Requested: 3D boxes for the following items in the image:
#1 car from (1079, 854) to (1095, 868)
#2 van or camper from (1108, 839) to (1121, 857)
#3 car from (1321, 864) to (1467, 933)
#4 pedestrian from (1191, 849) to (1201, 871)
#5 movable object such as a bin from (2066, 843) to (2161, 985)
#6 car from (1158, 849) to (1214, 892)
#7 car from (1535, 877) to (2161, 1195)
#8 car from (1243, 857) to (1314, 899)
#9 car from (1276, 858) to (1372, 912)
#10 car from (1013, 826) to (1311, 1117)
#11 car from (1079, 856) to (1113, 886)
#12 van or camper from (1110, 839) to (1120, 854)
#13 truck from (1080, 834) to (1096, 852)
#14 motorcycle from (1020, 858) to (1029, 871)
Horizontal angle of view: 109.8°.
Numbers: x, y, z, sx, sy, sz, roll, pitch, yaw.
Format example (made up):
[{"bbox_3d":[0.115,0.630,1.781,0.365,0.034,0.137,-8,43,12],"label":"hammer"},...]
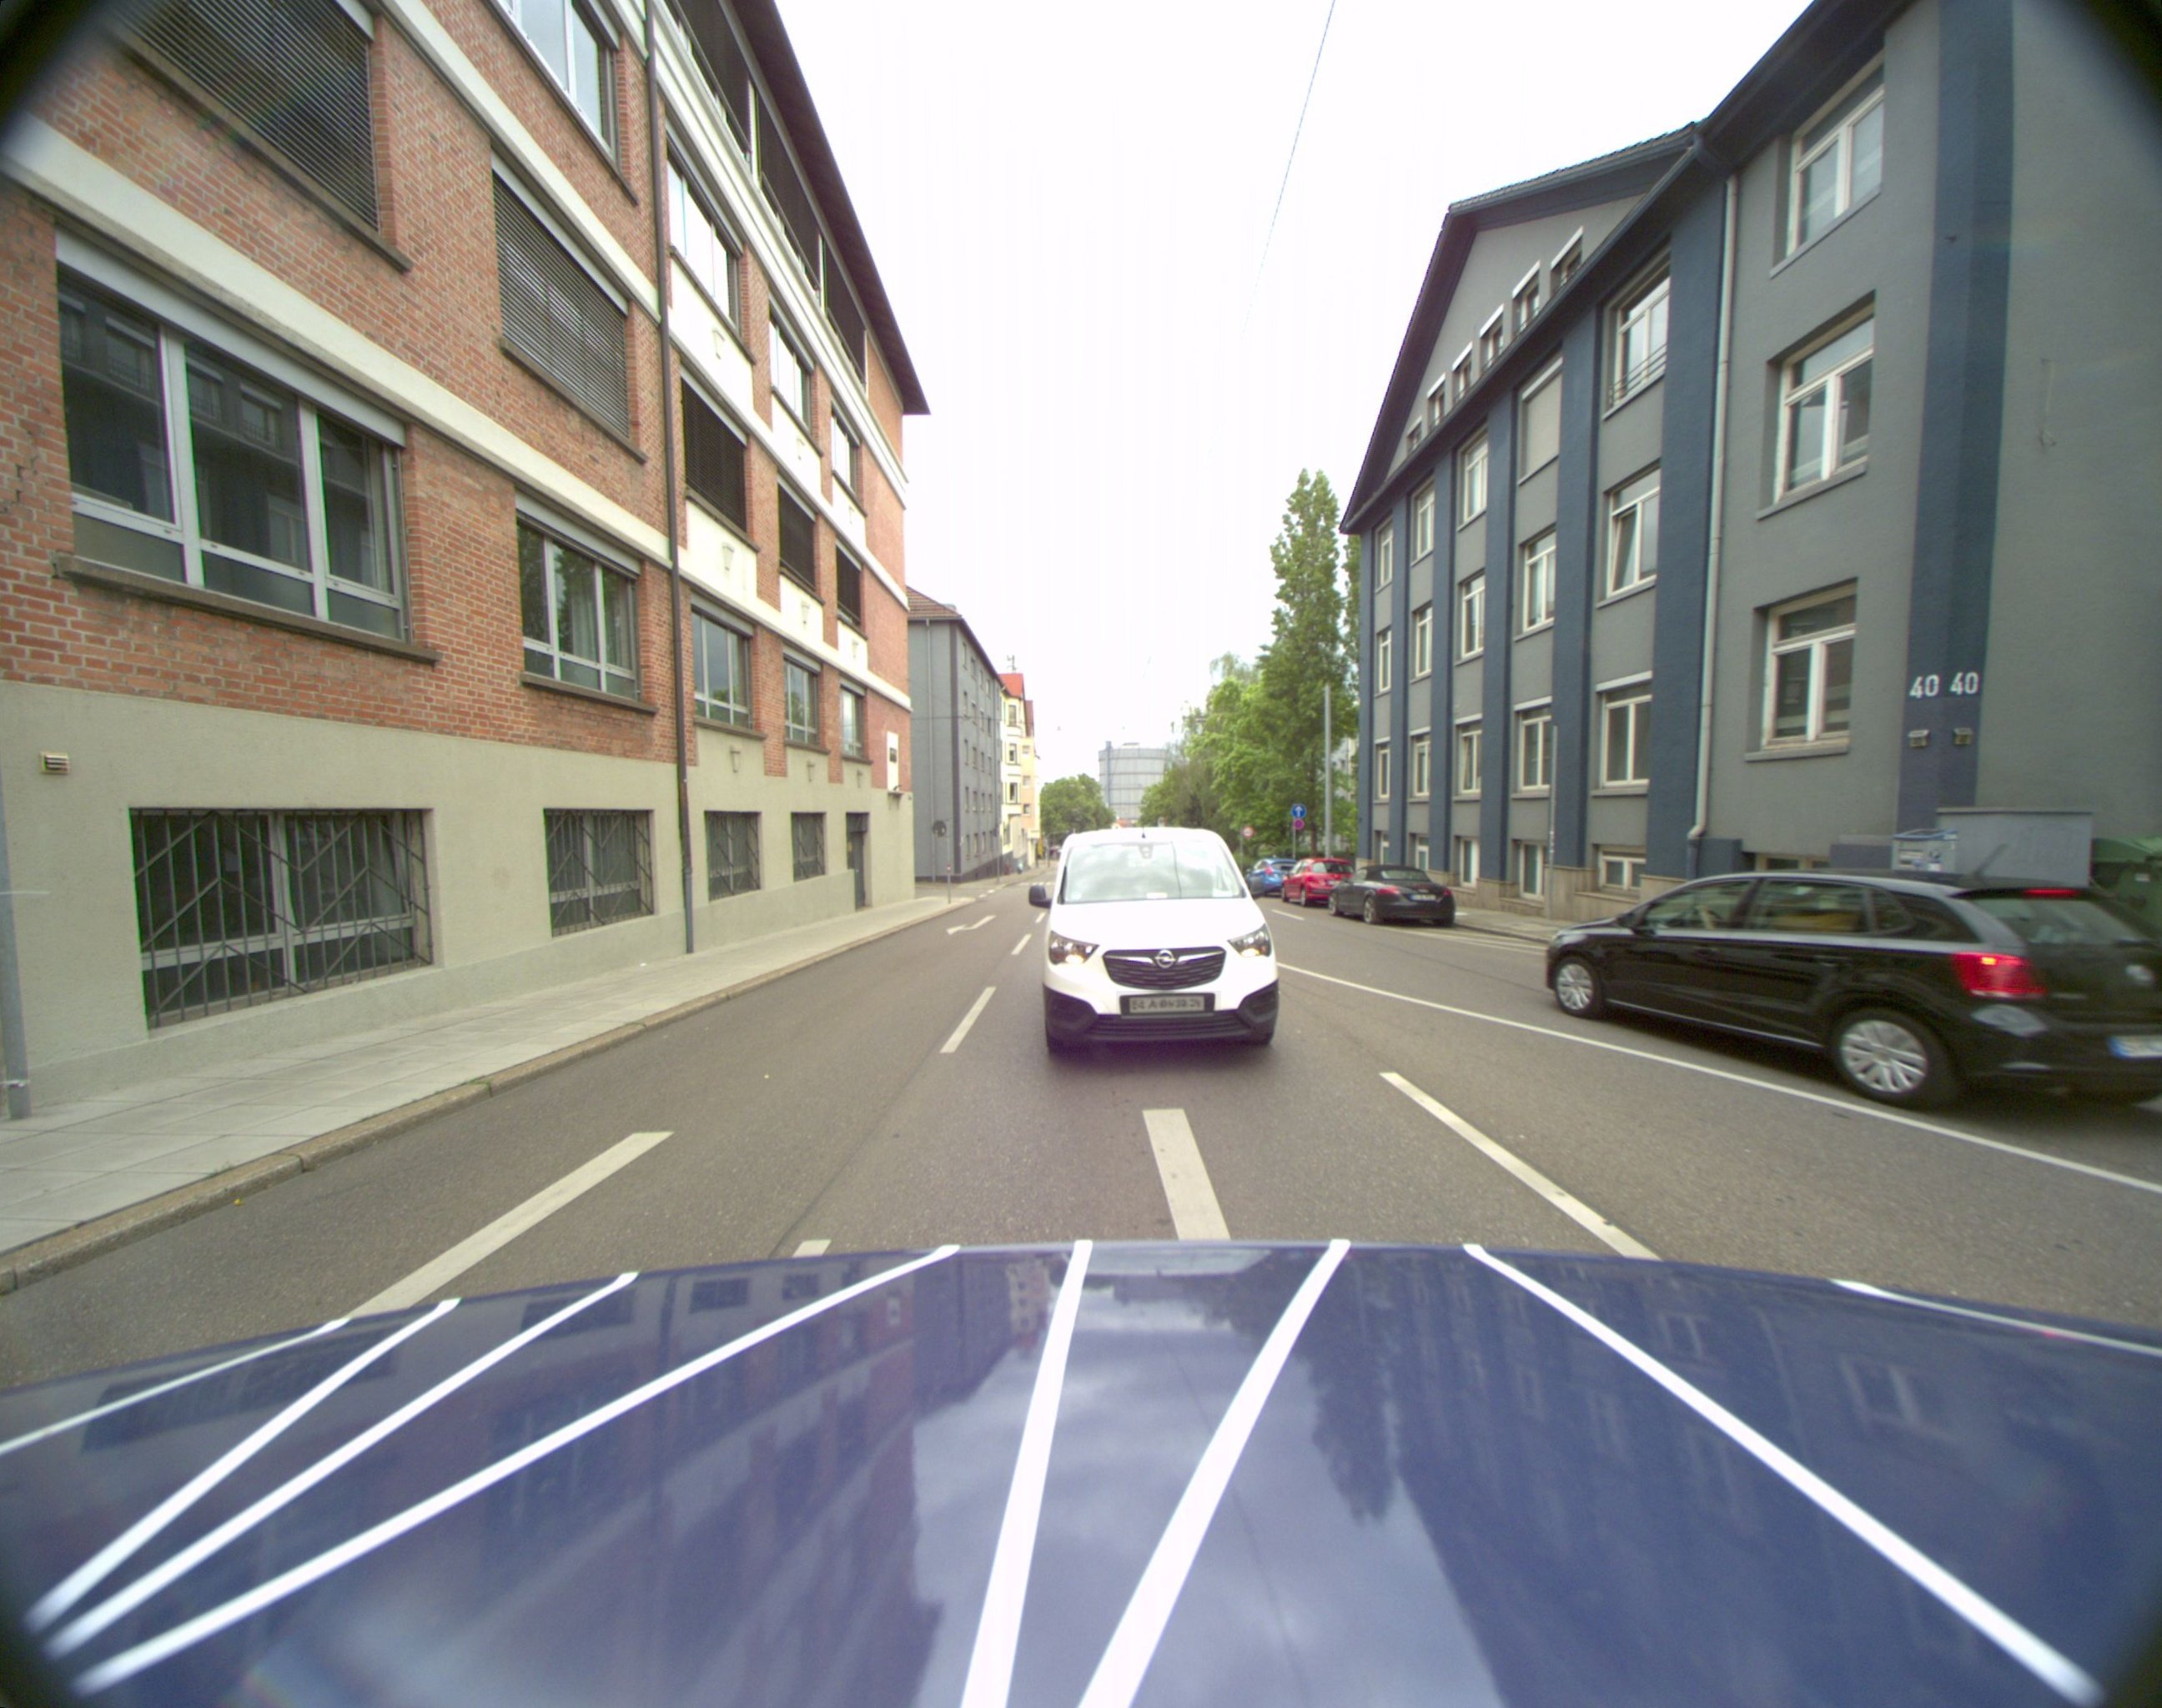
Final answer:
[{"bbox_3d":[0.687,0.790,83.298,1.724,1.486,3.727,1,0,2],"label":"car"},{"bbox_3d":[5.288,-0.910,119.218,1.914,2.754,5.925,1,0,2],"label":"van or camper"},{"bbox_3d":[7.193,0.960,17.916,1.724,1.319,4.041,2,0,0],"label":"car"},{"bbox_3d":[9.725,0.517,64.157,0.746,1.839,0.776,-1,1,2],"label":"pedestrian"},{"bbox_3d":[12.100,0.624,8.425,1.267,1.448,0.784,-3,2,4],"label":"movable object such as a bin"},{"bbox_3d":[4.478,0.663,33.089,1.788,1.697,4.306,2,1,0],"label":"car"},{"bbox_3d":[5.495,0.957,5.627,1.678,1.392,3.792,2,0,-6],"label":"car"},{"bbox_3d":[7.507,0.875,29.271,1.724,1.445,3.727,1,0,0],"label":"car"},{"bbox_3d":[7.458,0.887,23.700,1.819,1.465,3.869,2,0,2],"label":"car"},{"bbox_3d":[0.563,0.746,7.329,1.840,1.797,4.939,-2,0,1],"label":"car"},{"bbox_3d":[0.803,0.856,40.465,1.724,1.486,3.727,1,0,2],"label":"car"},{"bbox_3d":[6.667,-1.416,149.072,1.914,2.754,5.925,1,0,2],"label":"van or camper"},{"bbox_3d":[1.514,-2.129,151.644,2.980,3.394,9.358,-2,0,1],"label":"truck"},{"bbox_3d":[-5.081,0.934,67.849,0.566,1.105,1.653,4,0,2],"label":"motorcycle"}]
